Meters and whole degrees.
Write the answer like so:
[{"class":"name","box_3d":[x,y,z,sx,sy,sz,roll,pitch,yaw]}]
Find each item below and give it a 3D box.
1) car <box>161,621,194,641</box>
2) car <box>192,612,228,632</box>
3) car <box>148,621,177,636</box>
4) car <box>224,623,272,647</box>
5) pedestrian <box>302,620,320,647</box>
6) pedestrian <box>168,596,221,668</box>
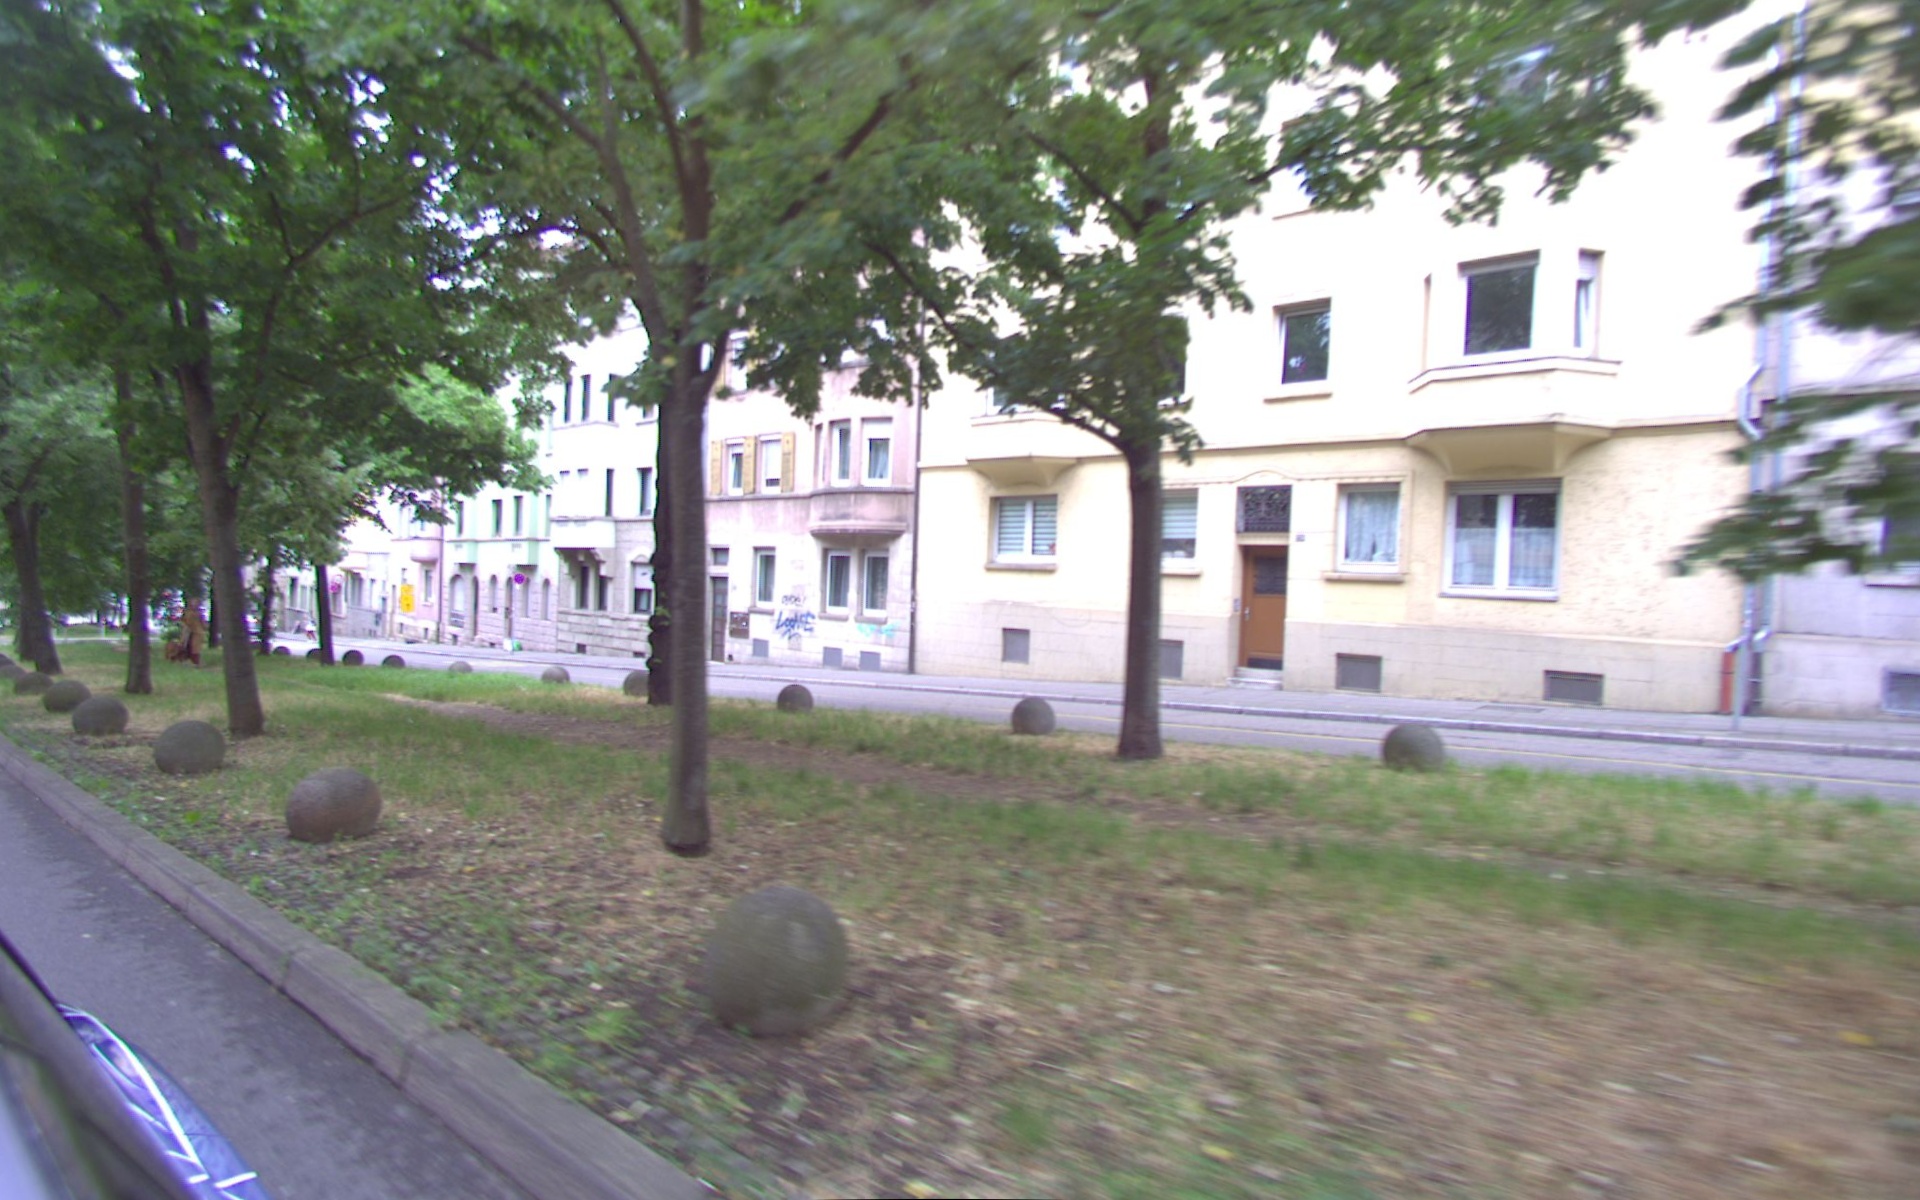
[{"class":"car","box_3d":[-71.473,2.815,92.388,1.795,1.649,4.682,4,-2,-45]},{"class":"car","box_3d":[-57.303,1.685,77.285,1.688,1.393,4.673,3,-4,-43]},{"class":"car","box_3d":[-77.042,2.772,97.758,4.295,1.417,1.650,-1,-3,44]},{"class":"car","box_3d":[-43.063,2.124,61.187,1.737,1.393,4.673,3,-4,-43]},{"class":"pedestrian","box_3d":[-35.261,1.819,54.987,0.690,1.471,0.705,0,-2,-43]},{"class":"pedestrian","box_3d":[-19.322,0.793,25.535,0.823,1.725,1.124,6,-3,-44]}]
